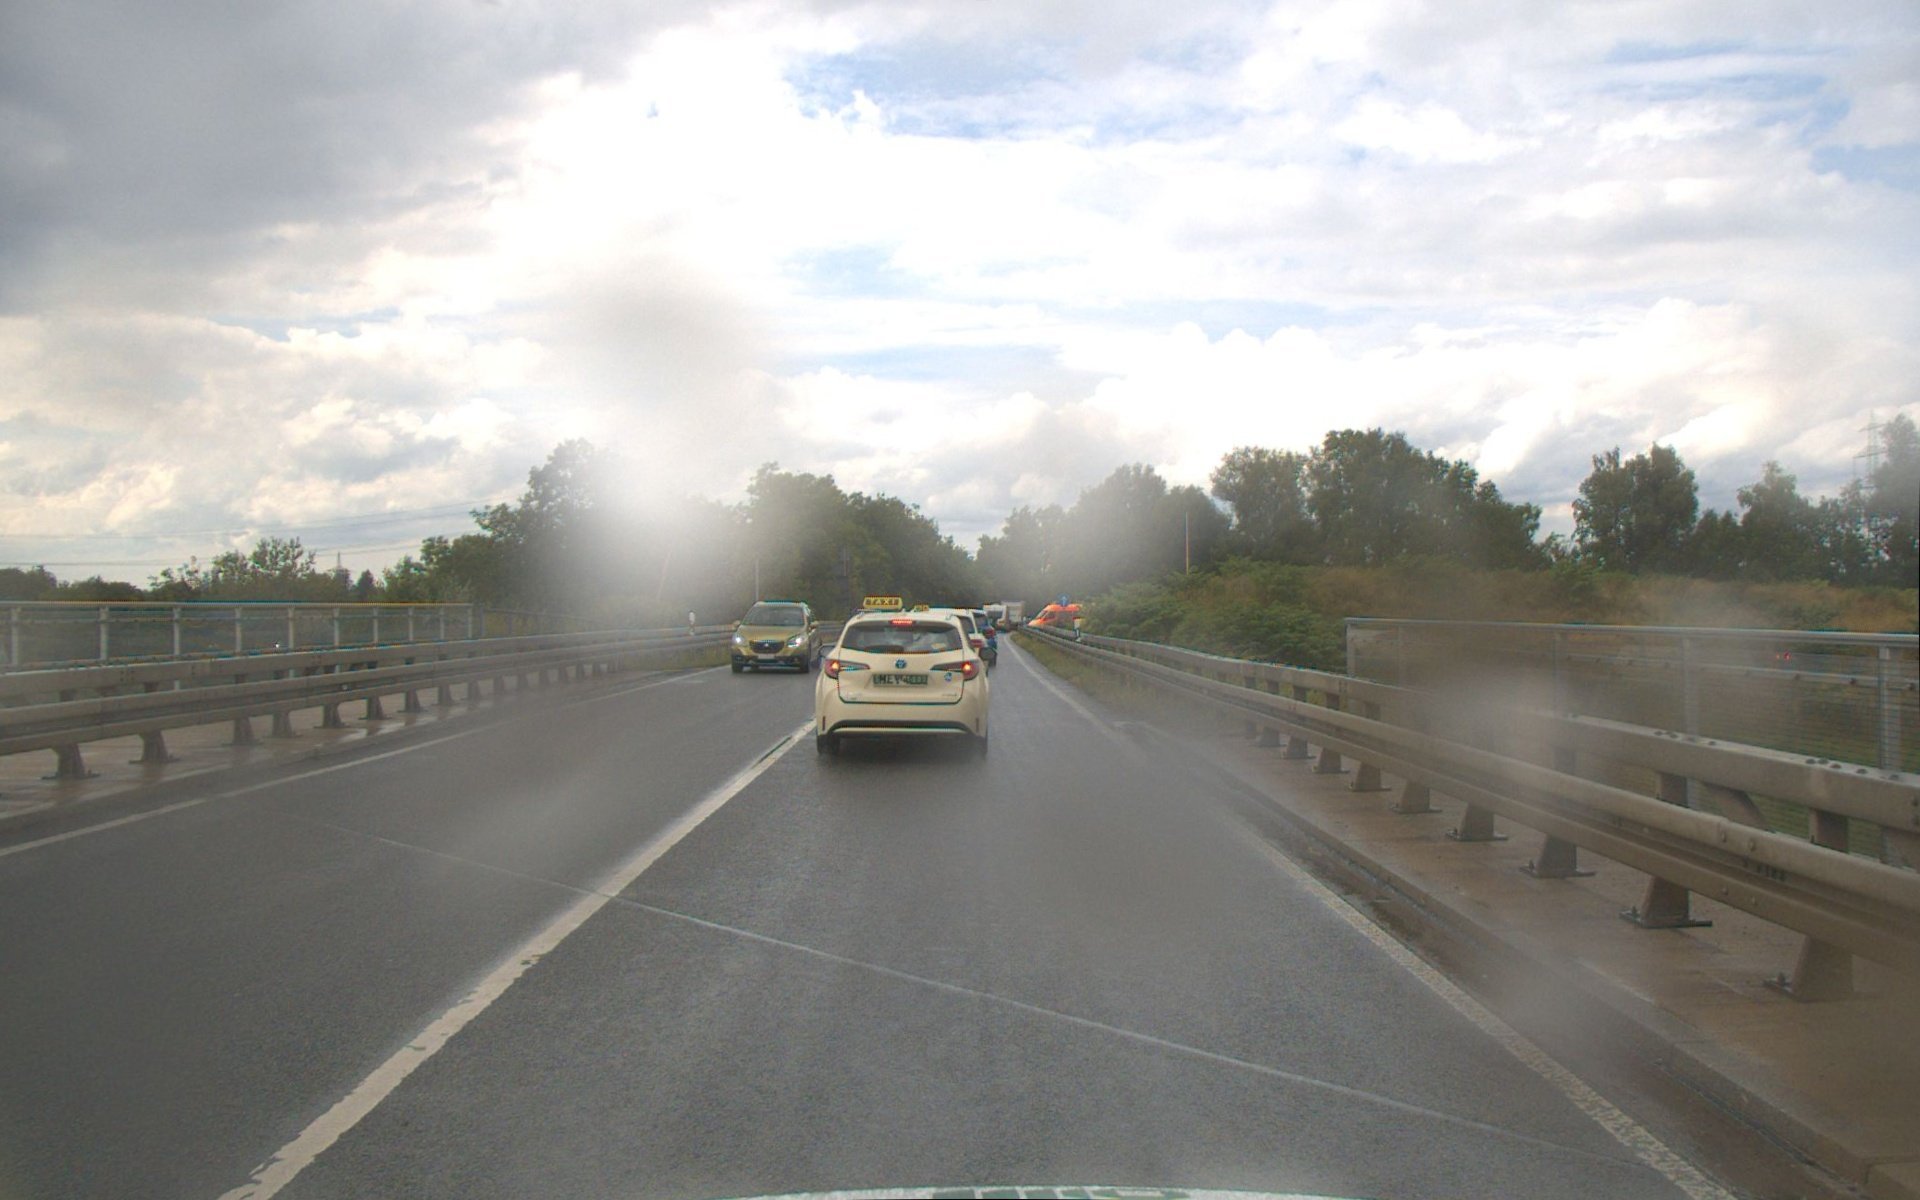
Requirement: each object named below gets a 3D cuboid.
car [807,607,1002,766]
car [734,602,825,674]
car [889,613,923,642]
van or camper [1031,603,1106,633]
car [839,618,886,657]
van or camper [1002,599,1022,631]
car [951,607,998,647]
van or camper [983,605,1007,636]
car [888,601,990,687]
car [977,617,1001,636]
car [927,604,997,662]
[{"bbox_3d":[-0.535,0.833,17.775,1.816,1.418,4.170,1,0,0],"label":"car"},{"bbox_3d":[-4.107,0.862,38.116,1.679,1.543,3.859,1,-1,-1],"label":"car"},{"bbox_3d":[-3.072,1.574,94.725,1.773,1.536,4.611,1,0,0],"label":"car"},{"bbox_3d":[8.531,1.413,130.420,5.583,2.281,2.012,1,0,-15],"label":"van or camper"},{"bbox_3d":[-3.873,1.484,66.369,1.662,1.457,4.322,1,0,-1],"label":"car"},{"bbox_3d":[6.058,1.734,193.365,2.284,3.625,6.307,1,0,1],"label":"van or camper"},{"bbox_3d":[0.563,1.074,66.602,1.816,1.468,4.170,1,0,0],"label":"car"},{"bbox_3d":[3.435,1.954,162.003,2.284,2.914,6.307,1,0,1],"label":"van or camper"},{"bbox_3d":[-0.384,0.797,31.842,1.816,1.468,4.170,1,0,0],"label":"car"},{"bbox_3d":[2.473,2.239,138.803,1.815,1.468,4.172,1,0,3],"label":"car"},{"bbox_3d":[0.049,0.877,45.946,1.816,1.468,4.170,1,0,0],"label":"car"}]
